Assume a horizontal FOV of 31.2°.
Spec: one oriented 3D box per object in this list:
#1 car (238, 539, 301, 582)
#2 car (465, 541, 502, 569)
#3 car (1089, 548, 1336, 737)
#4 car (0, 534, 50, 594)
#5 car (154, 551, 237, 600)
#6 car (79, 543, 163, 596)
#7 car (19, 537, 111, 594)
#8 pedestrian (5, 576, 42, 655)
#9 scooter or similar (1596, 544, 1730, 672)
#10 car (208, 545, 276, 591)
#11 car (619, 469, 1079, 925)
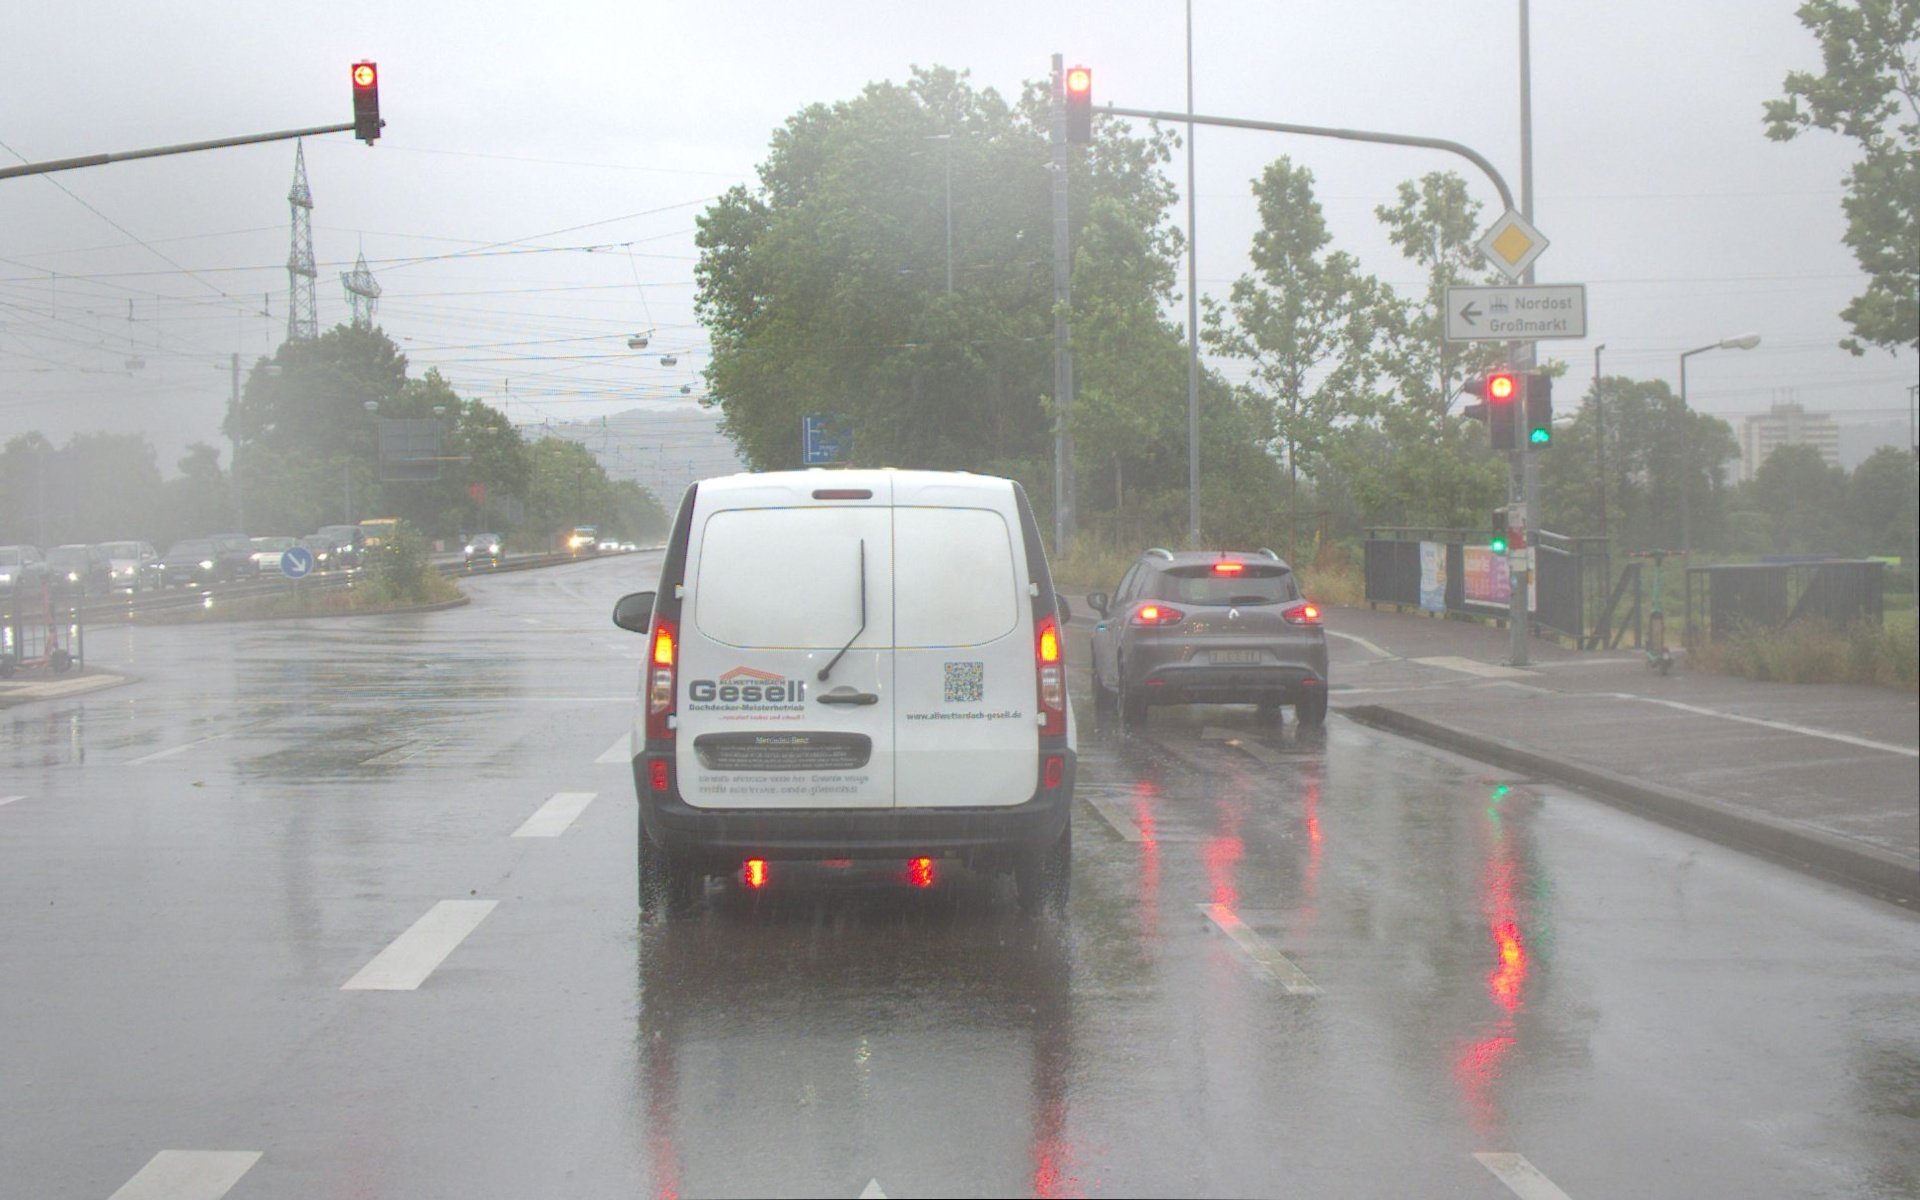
[{"bbox_3d":[-24.647,-1.394,122.773,1.559,1.421,3.569,2,0,-1],"label":"car"},{"bbox_3d":[-26.421,-2.481,190.628,1.559,1.421,3.569,2,0,-1],"label":"car"},{"bbox_3d":[2.105,0.321,29.654,1.684,1.503,3.921,1,1,-2],"label":"car"},{"bbox_3d":[-23.532,-0.880,84.273,1.559,1.421,3.569,2,0,-1],"label":"car"},{"bbox_3d":[-23.361,-0.736,105.161,1.710,1.421,3.809,2,0,-1],"label":"car"},{"bbox_3d":[-23.845,-0.849,97.840,1.559,1.421,3.569,2,0,-1],"label":"car"},{"bbox_3d":[-23.752,-0.893,91.352,1.559,1.421,3.569,2,0,-1],"label":"car"},{"bbox_3d":[-10.791,0.174,39.622,0.315,0.894,0.380,2,1,-3],"label":"pedestrian"},{"bbox_3d":[6.949,0.051,34.133,0.690,1.207,3.020,-1,1,0],"label":"scooter or similar"},{"bbox_3d":[-23.766,-1.040,113.914,1.559,1.421,3.569,2,0,-1],"label":"car"},{"bbox_3d":[-0.594,0.318,15.269,1.754,1.744,4.170,0,2,-5],"label":"car"}]
